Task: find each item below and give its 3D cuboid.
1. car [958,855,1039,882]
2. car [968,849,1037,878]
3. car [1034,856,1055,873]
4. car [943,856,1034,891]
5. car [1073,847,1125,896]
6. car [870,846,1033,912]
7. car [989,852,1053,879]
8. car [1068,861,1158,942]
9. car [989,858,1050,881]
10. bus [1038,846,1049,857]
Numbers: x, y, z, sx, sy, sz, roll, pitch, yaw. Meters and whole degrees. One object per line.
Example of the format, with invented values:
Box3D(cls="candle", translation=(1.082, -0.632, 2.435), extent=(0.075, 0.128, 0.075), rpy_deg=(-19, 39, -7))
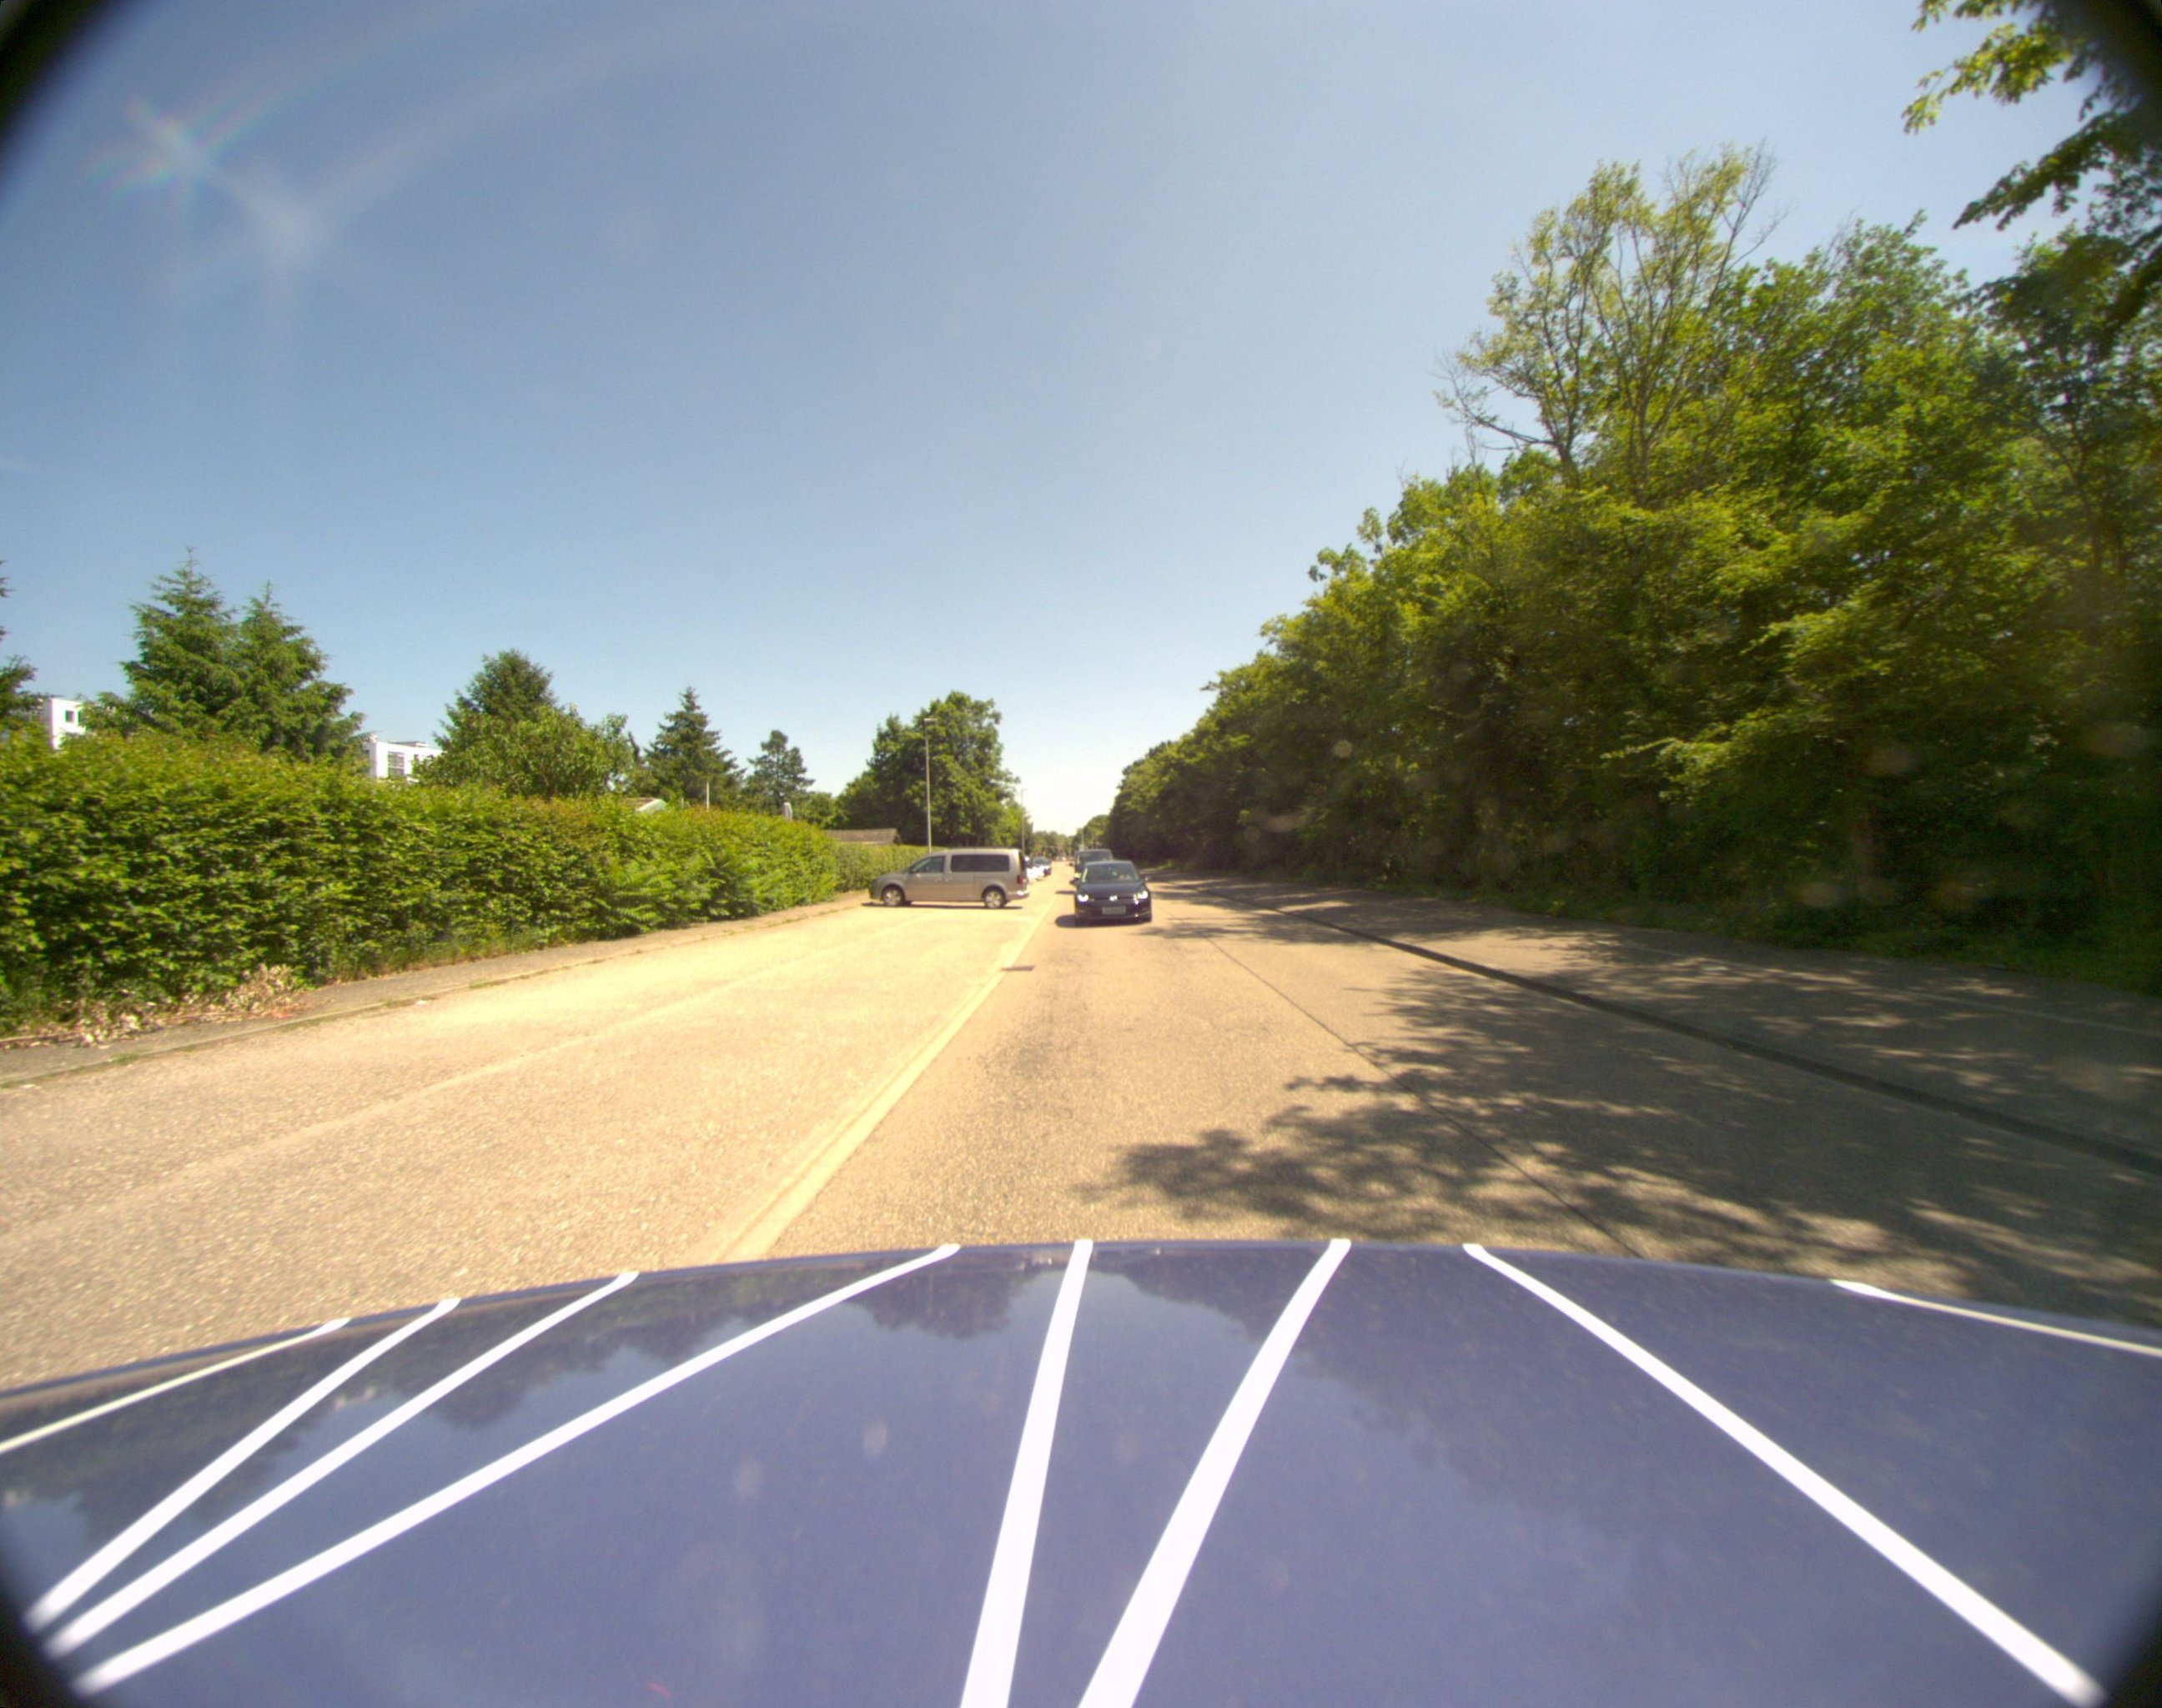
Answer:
Box3D(cls="car", translation=(-4.780, 0.846, 44.589), extent=(4.571, 1.430, 1.960), rpy_deg=(2, 0, -4))
Box3D(cls="car", translation=(-5.067, 0.607, 49.565), extent=(4.268, 1.688, 1.853), rpy_deg=(2, 0, 0))
Box3D(cls="car", translation=(-3.362, 0.965, 69.786), extent=(1.794, 1.473, 4.663), rpy_deg=(2, 0, -3))
Box3D(cls="car", translation=(-4.205, 0.870, 35.019), extent=(3.929, 1.470, 1.845), rpy_deg=(2, 0, 0))
Box3D(cls="car", translation=(0.729, 0.712, 33.865), extent=(2.001, 1.965, 4.449), rpy_deg=(-2, 0, -2))
Box3D(cls="car", translation=(-3.896, 0.738, 23.484), extent=(4.632, 1.837, 1.996), rpy_deg=(1, 0, 1))
Box3D(cls="car", translation=(-4.297, 0.822, 54.849), extent=(4.482, 1.694, 1.913), rpy_deg=(2, 0, -1))
Box3D(cls="car", translation=(0.758, 1.070, 18.874), extent=(1.887, 1.667, 4.663), rpy_deg=(-3, -1, 1))
Box3D(cls="car", translation=(-4.189, 1.040, 52.002), extent=(4.007, 1.444, 1.831), rpy_deg=(-2, 1, -1))
Box3D(cls="bus", translation=(-11.075, -0.667, 225.039), extent=(2.931, 3.248, 8.329), rpy_deg=(-2, 0, 0))
